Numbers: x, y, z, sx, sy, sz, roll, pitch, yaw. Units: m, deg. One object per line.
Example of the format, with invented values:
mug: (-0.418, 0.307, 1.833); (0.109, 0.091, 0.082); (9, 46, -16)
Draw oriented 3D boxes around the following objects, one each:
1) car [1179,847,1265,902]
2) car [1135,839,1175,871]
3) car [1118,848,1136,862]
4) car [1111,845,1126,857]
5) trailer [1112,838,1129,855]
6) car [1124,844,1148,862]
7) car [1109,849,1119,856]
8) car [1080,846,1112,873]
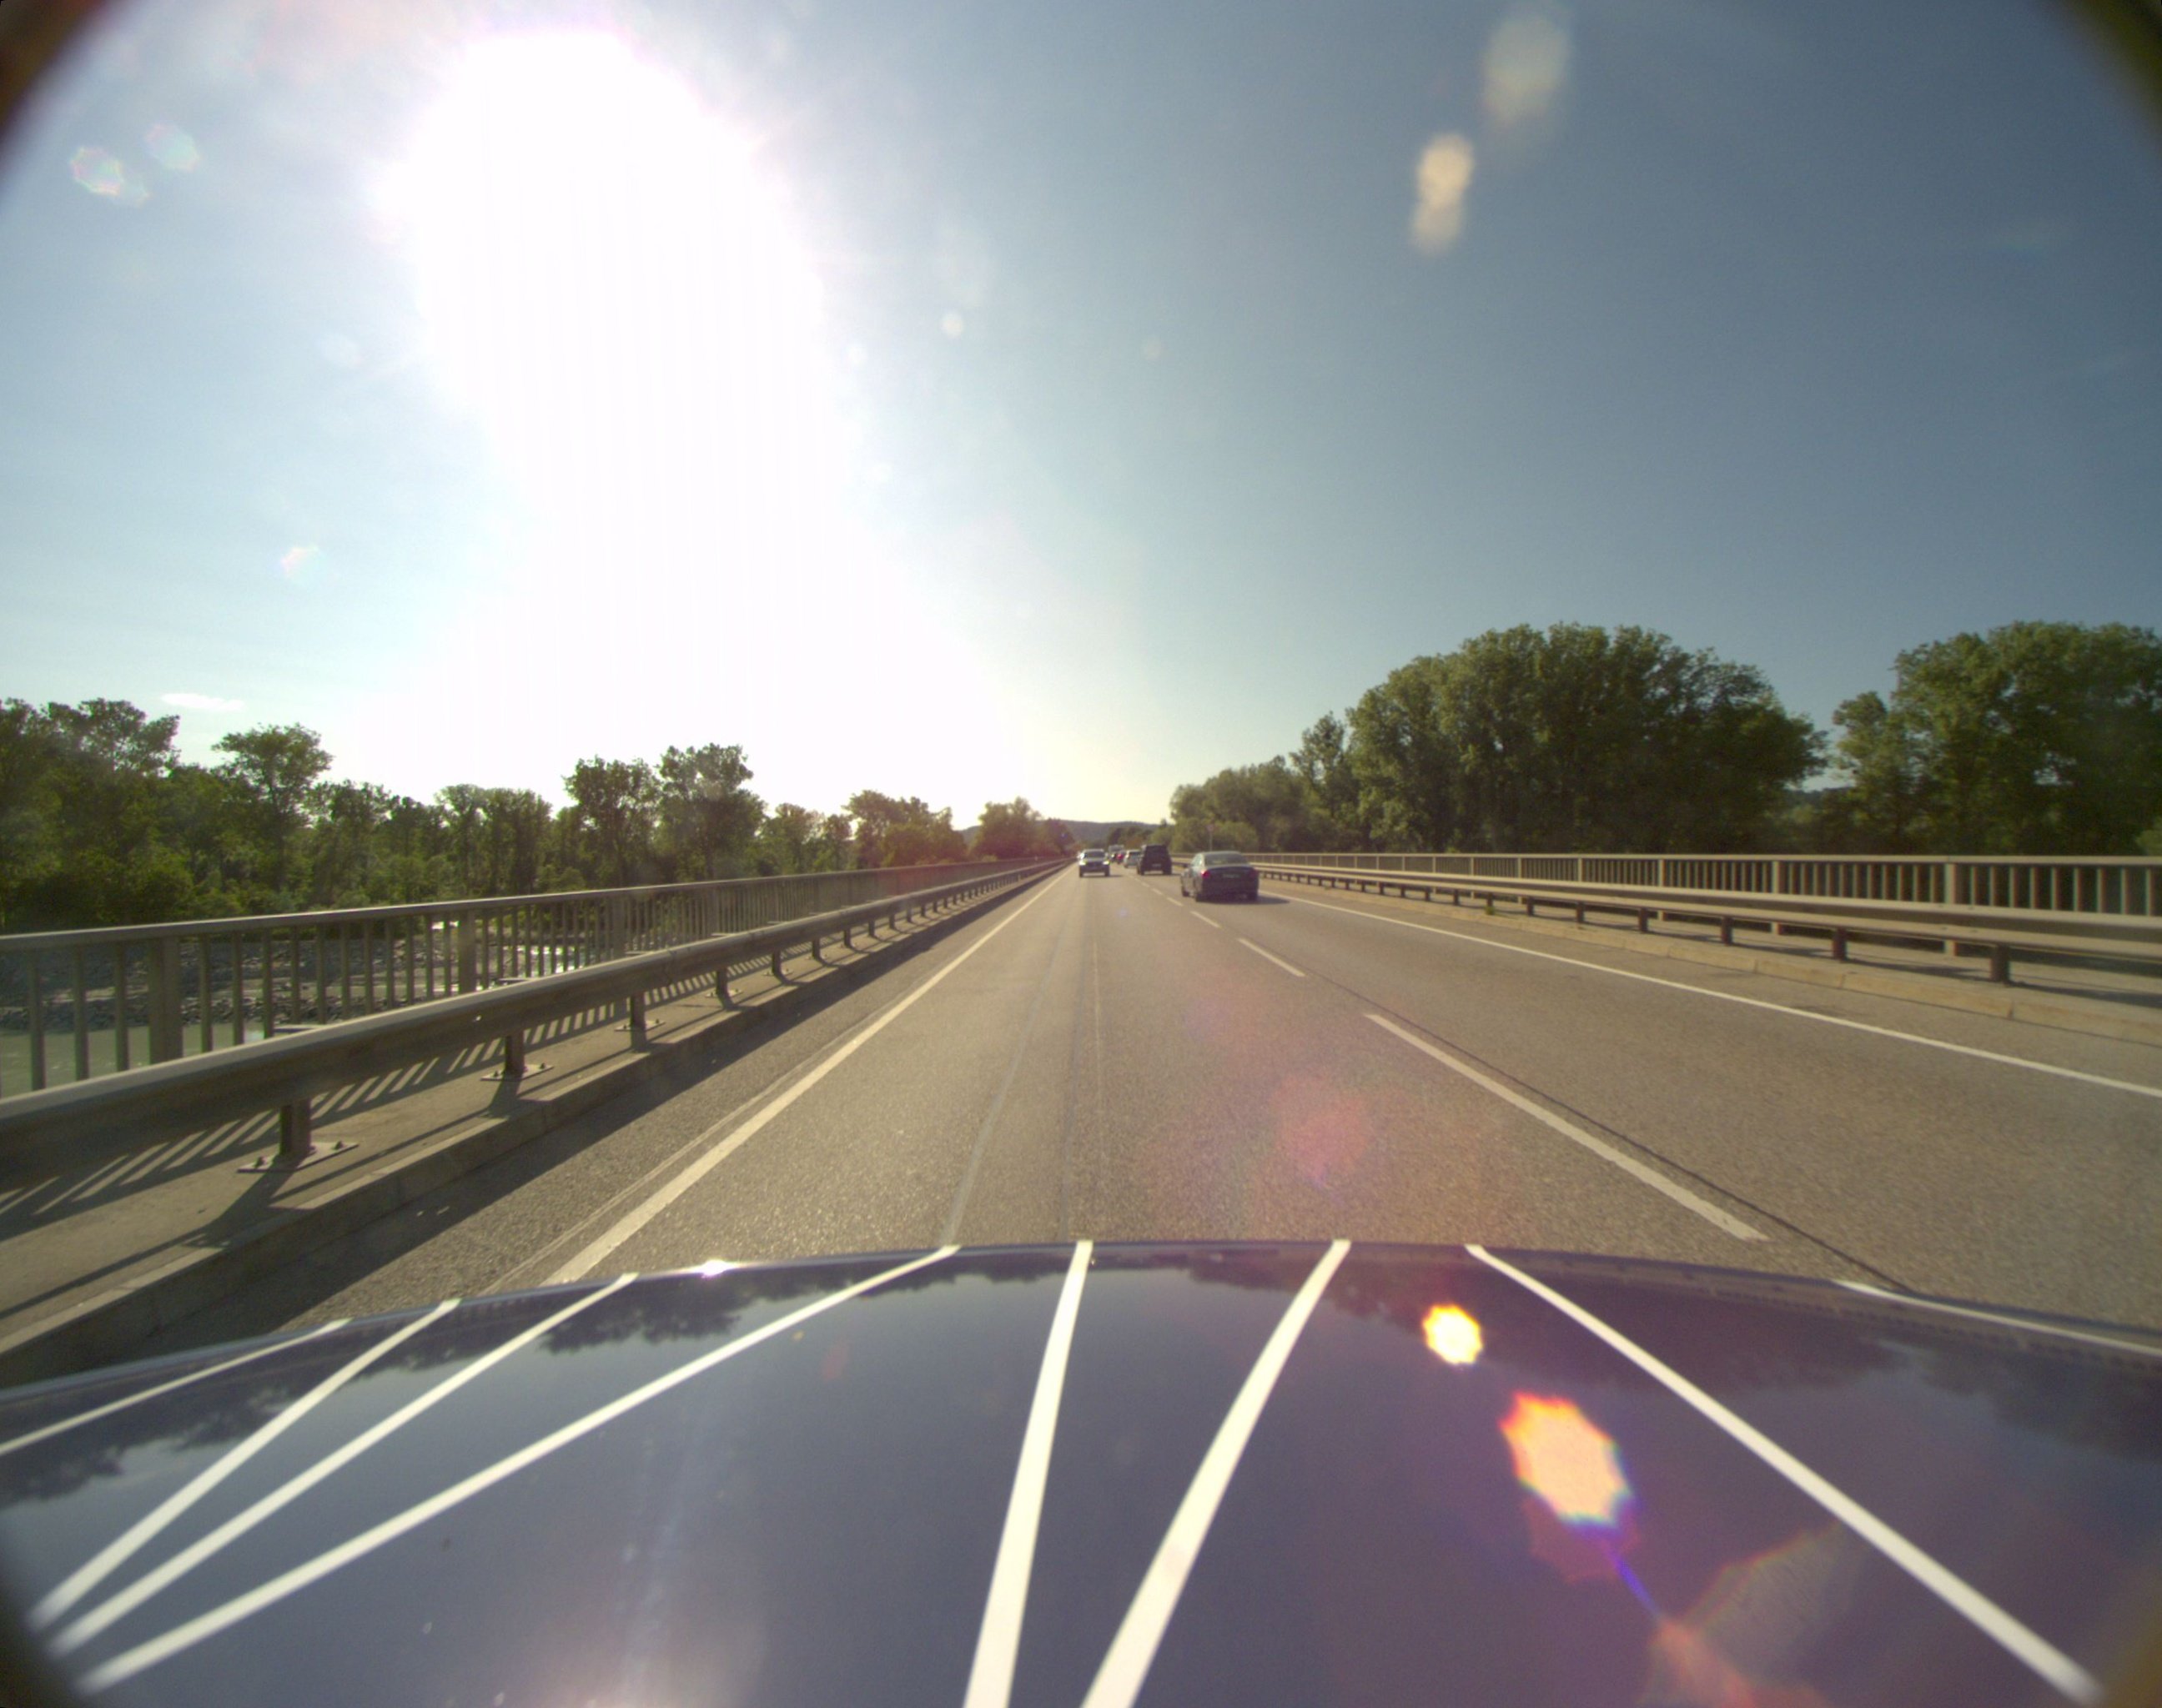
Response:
car: (4.170, 0.547, 23.145); (1.770, 1.439, 4.456); (-2, 1, 1)
car: (4.668, 0.041, 48.848); (2.042, 1.863, 5.069); (-2, 1, 0)
car: (5.670, 0.118, 94.883); (1.954, 1.684, 4.476); (-2, 0, 1)
car: (5.509, -0.462, 111.839); (1.807, 1.651, 4.432); (-2, 1, 0)
trailer: (6.622, -1.226, 127.379); (2.561, 2.722, 8.063); (-2, 1, 3)
car: (5.222, -0.092, 72.918); (1.988, 1.641, 4.597); (-2, 0, 1)
car: (6.477, -0.342, 149.372); (1.791, 1.412, 4.650); (-1, 1, -1)
car: (0.997, 0.332, 49.279); (1.871, 1.599, 4.379); (-2, 1, 2)
